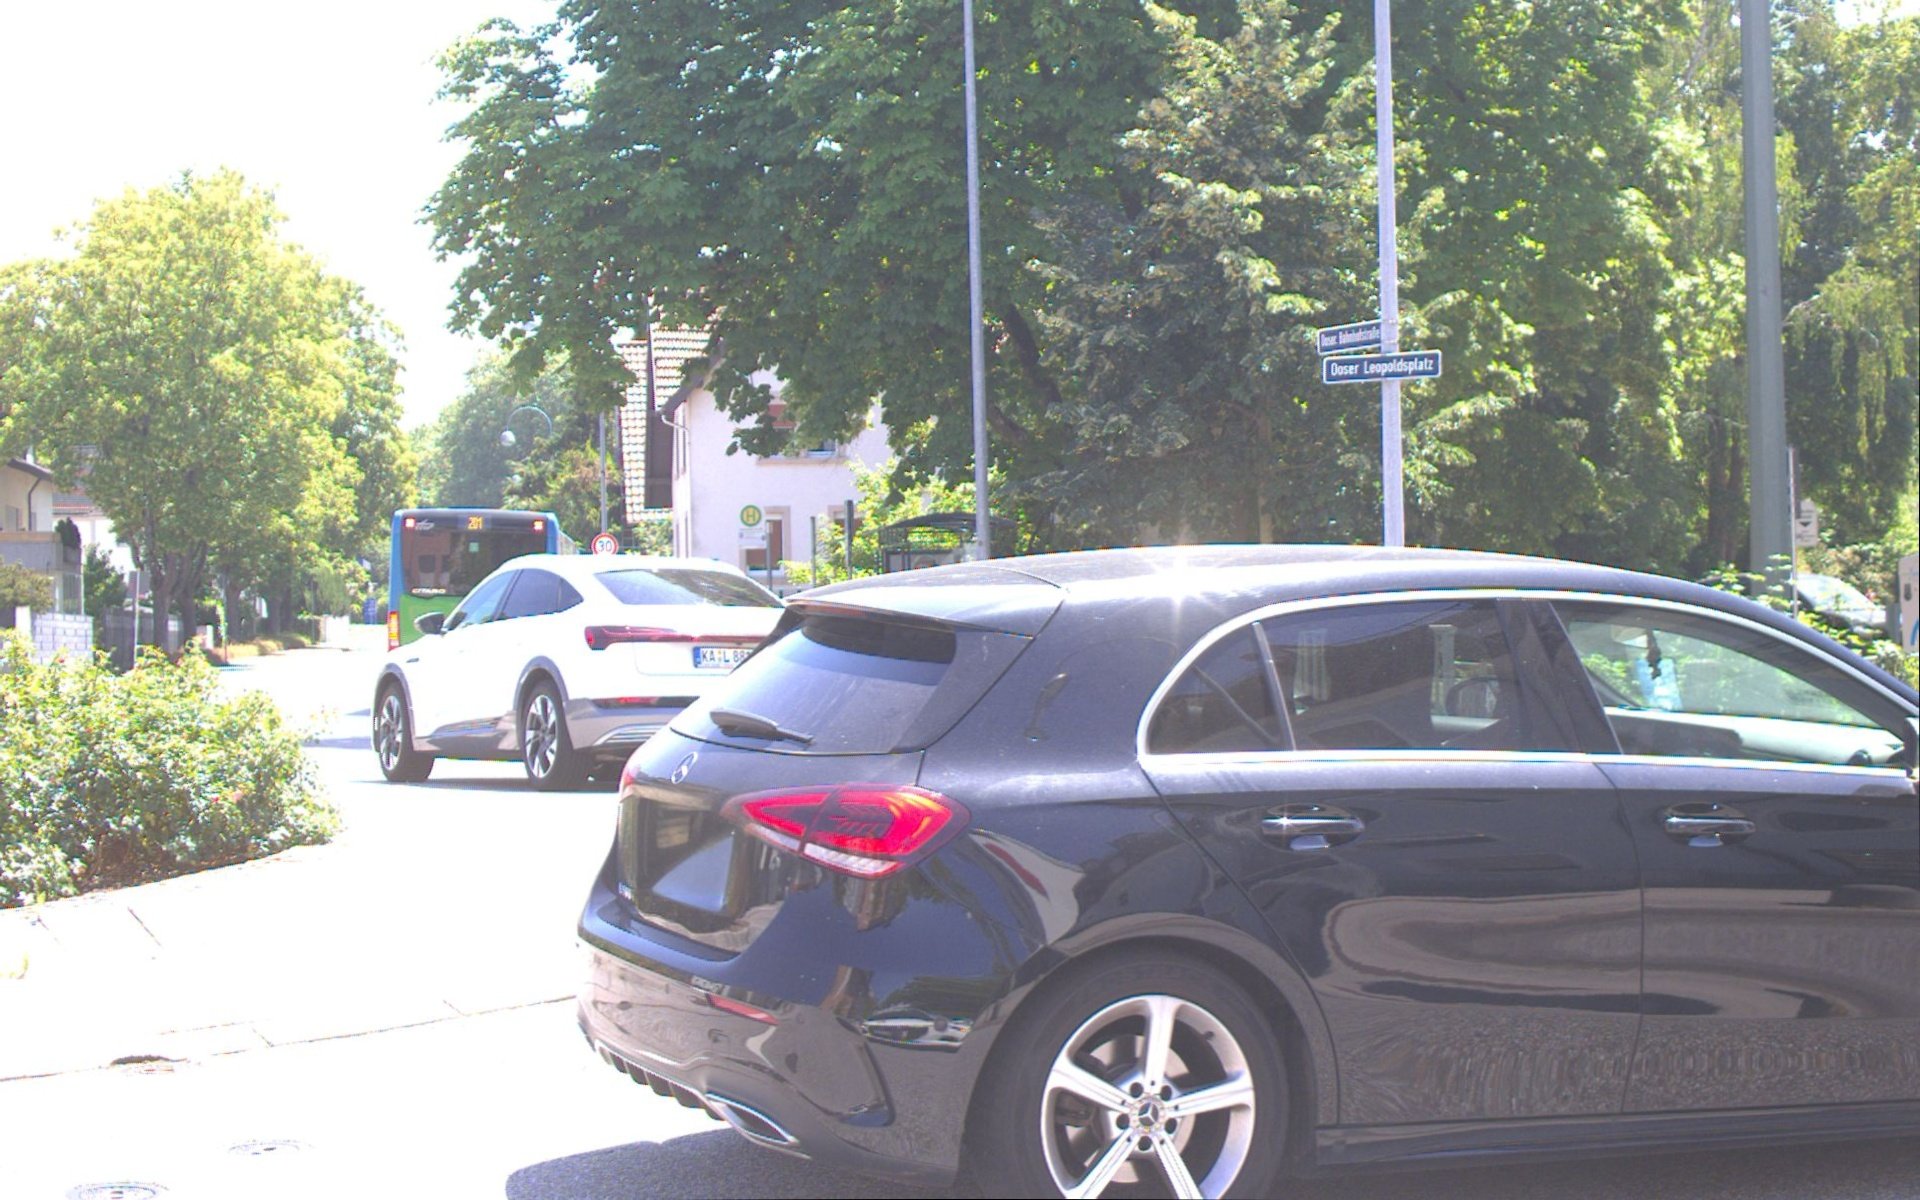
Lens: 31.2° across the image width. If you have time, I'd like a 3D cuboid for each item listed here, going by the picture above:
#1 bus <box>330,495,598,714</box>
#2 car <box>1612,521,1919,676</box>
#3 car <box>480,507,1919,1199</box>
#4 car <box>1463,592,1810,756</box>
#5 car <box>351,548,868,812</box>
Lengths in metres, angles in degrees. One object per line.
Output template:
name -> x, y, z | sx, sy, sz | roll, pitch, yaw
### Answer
bus -> -8.213, 0.144, 59.440 | 3.706, 3.161, 18.071 | 1, -1, -6
car -> 11.129, -0.012, 46.715 | 3.997, 2.007, 1.995 | -1, 0, 43
car -> 1.283, 0.547, 7.942 | 4.423, 1.452, 1.769 | -1, 3, -24
car -> 6.922, 0.734, 35.225 | 3.048, 1.547, 1.635 | -1, 0, -20
car -> -2.574, 0.512, 24.225 | 1.898, 1.656, 4.409 | -1, 0, -31
